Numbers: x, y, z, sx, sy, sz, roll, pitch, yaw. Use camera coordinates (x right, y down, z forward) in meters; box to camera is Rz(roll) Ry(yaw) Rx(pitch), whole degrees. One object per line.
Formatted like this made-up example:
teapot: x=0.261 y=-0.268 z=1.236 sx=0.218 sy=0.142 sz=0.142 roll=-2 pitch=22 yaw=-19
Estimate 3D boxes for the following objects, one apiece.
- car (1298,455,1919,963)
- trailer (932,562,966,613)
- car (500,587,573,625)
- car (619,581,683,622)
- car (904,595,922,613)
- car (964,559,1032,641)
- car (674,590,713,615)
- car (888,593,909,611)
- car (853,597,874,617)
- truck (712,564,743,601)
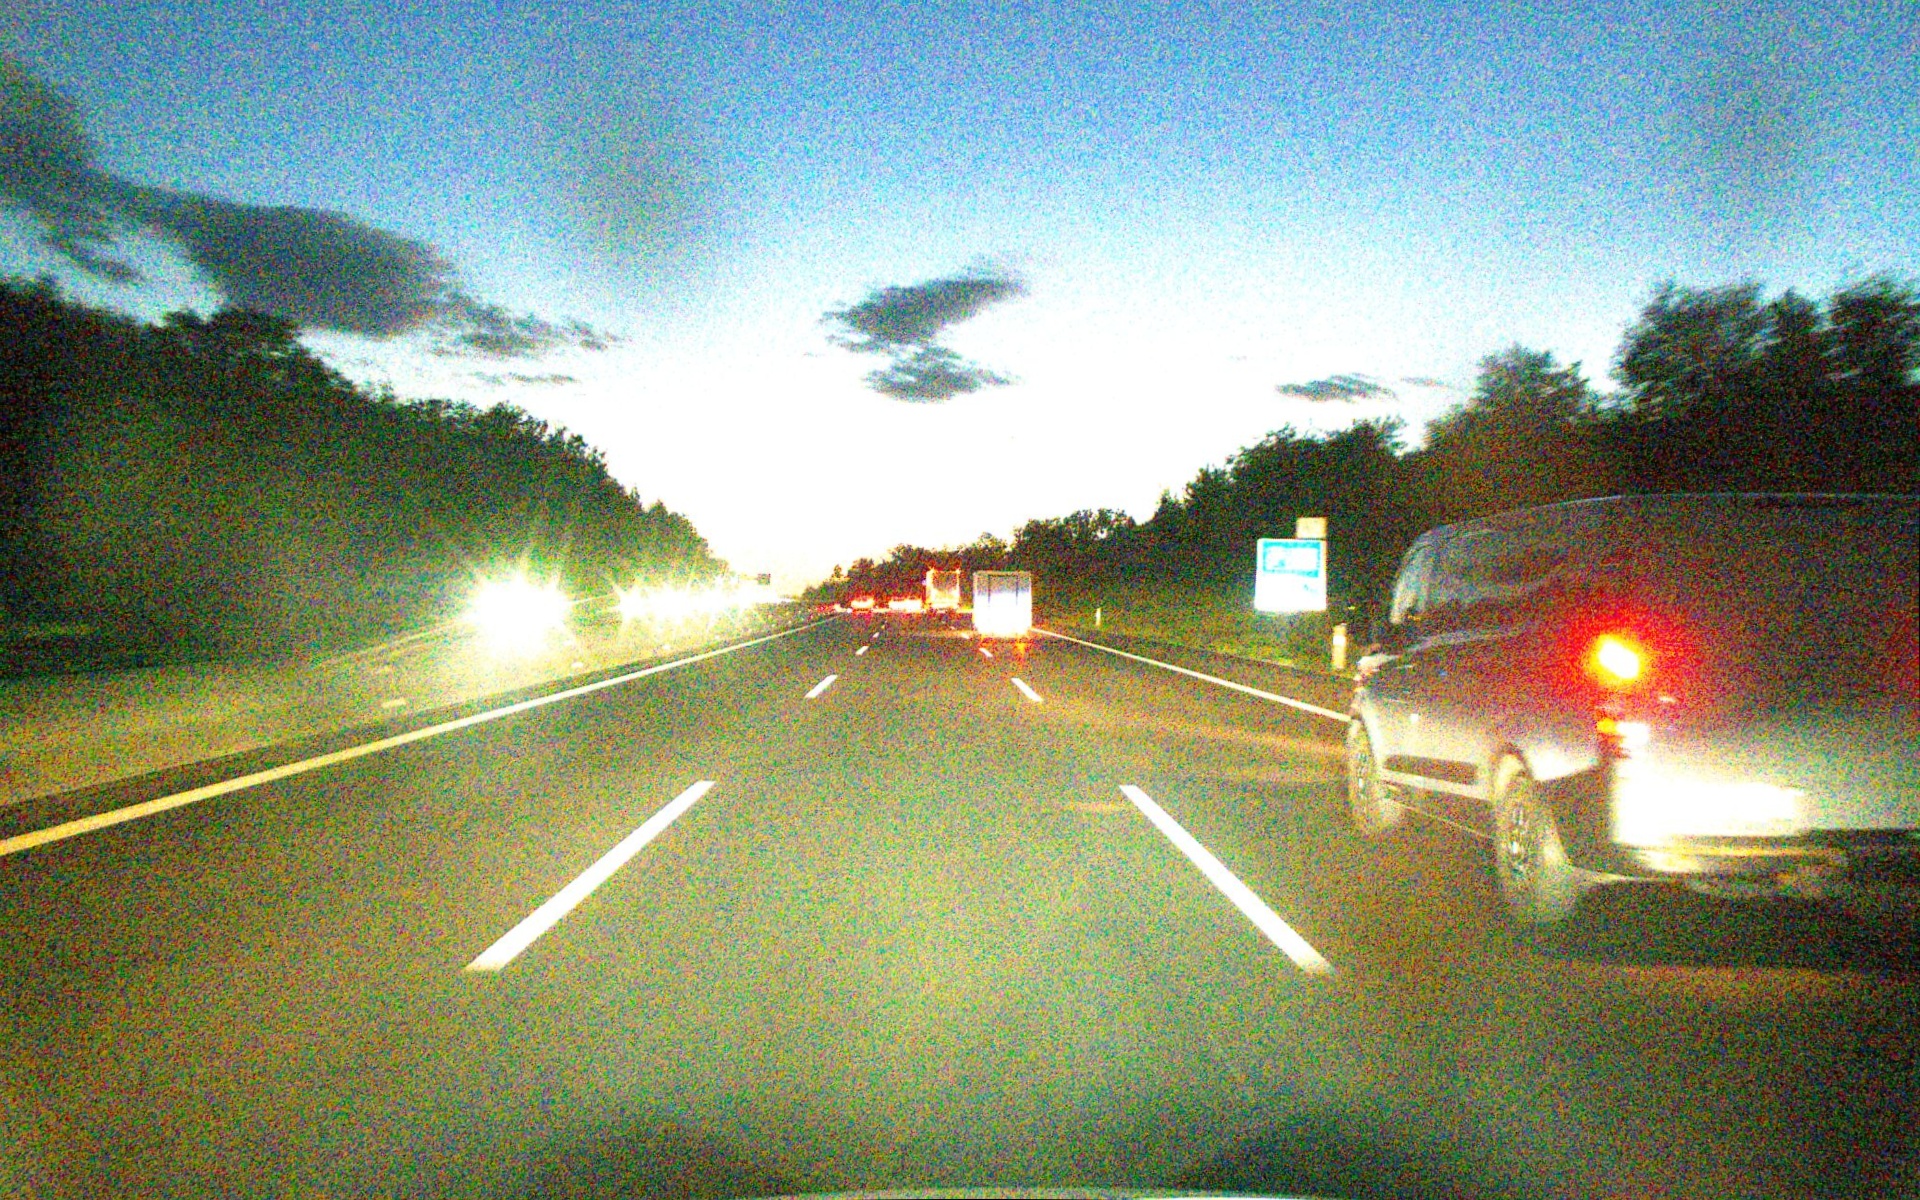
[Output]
car: x=3.621 y=0.457 z=9.520 sx=2.072 sy=2.036 sz=5.662 roll=1 pitch=0 yaw=-1
trailer: x=-1.152 y=-1.108 z=161.163 sx=2.772 sy=4.332 sz=17.040 roll=1 pitch=-2 yaw=-2
car: x=-17.327 y=0.237 z=67.853 sx=1.969 sy=1.493 sz=4.207 roll=1 pitch=0 yaw=-1
car: x=-13.282 y=0.066 z=71.298 sx=1.969 sy=1.699 sz=4.482 roll=0 pitch=0 yaw=-1
car: x=-5.952 y=0.468 z=208.609 sx=1.955 sy=2.154 sz=3.994 roll=1 pitch=-2 yaw=-6
car: x=1.270 y=0.028 z=57.629 sx=1.991 sy=2.693 sz=5.722 roll=1 pitch=0 yaw=-2
car: x=-18.931 y=0.182 z=117.607 sx=1.969 sy=1.699 sz=4.948 roll=1 pitch=0 yaw=-1
car: x=-6.528 y=0.205 z=175.934 sx=1.953 sy=1.825 sz=3.999 roll=1 pitch=-2 yaw=0
car: x=-9.458 y=0.674 z=161.922 sx=1.954 sy=1.825 sz=3.997 roll=1 pitch=-2 yaw=-3
truck: x=-25.805 y=-1.947 z=183.628 sx=2.797 sy=4.050 sz=5.856 roll=1 pitch=0 yaw=-3
